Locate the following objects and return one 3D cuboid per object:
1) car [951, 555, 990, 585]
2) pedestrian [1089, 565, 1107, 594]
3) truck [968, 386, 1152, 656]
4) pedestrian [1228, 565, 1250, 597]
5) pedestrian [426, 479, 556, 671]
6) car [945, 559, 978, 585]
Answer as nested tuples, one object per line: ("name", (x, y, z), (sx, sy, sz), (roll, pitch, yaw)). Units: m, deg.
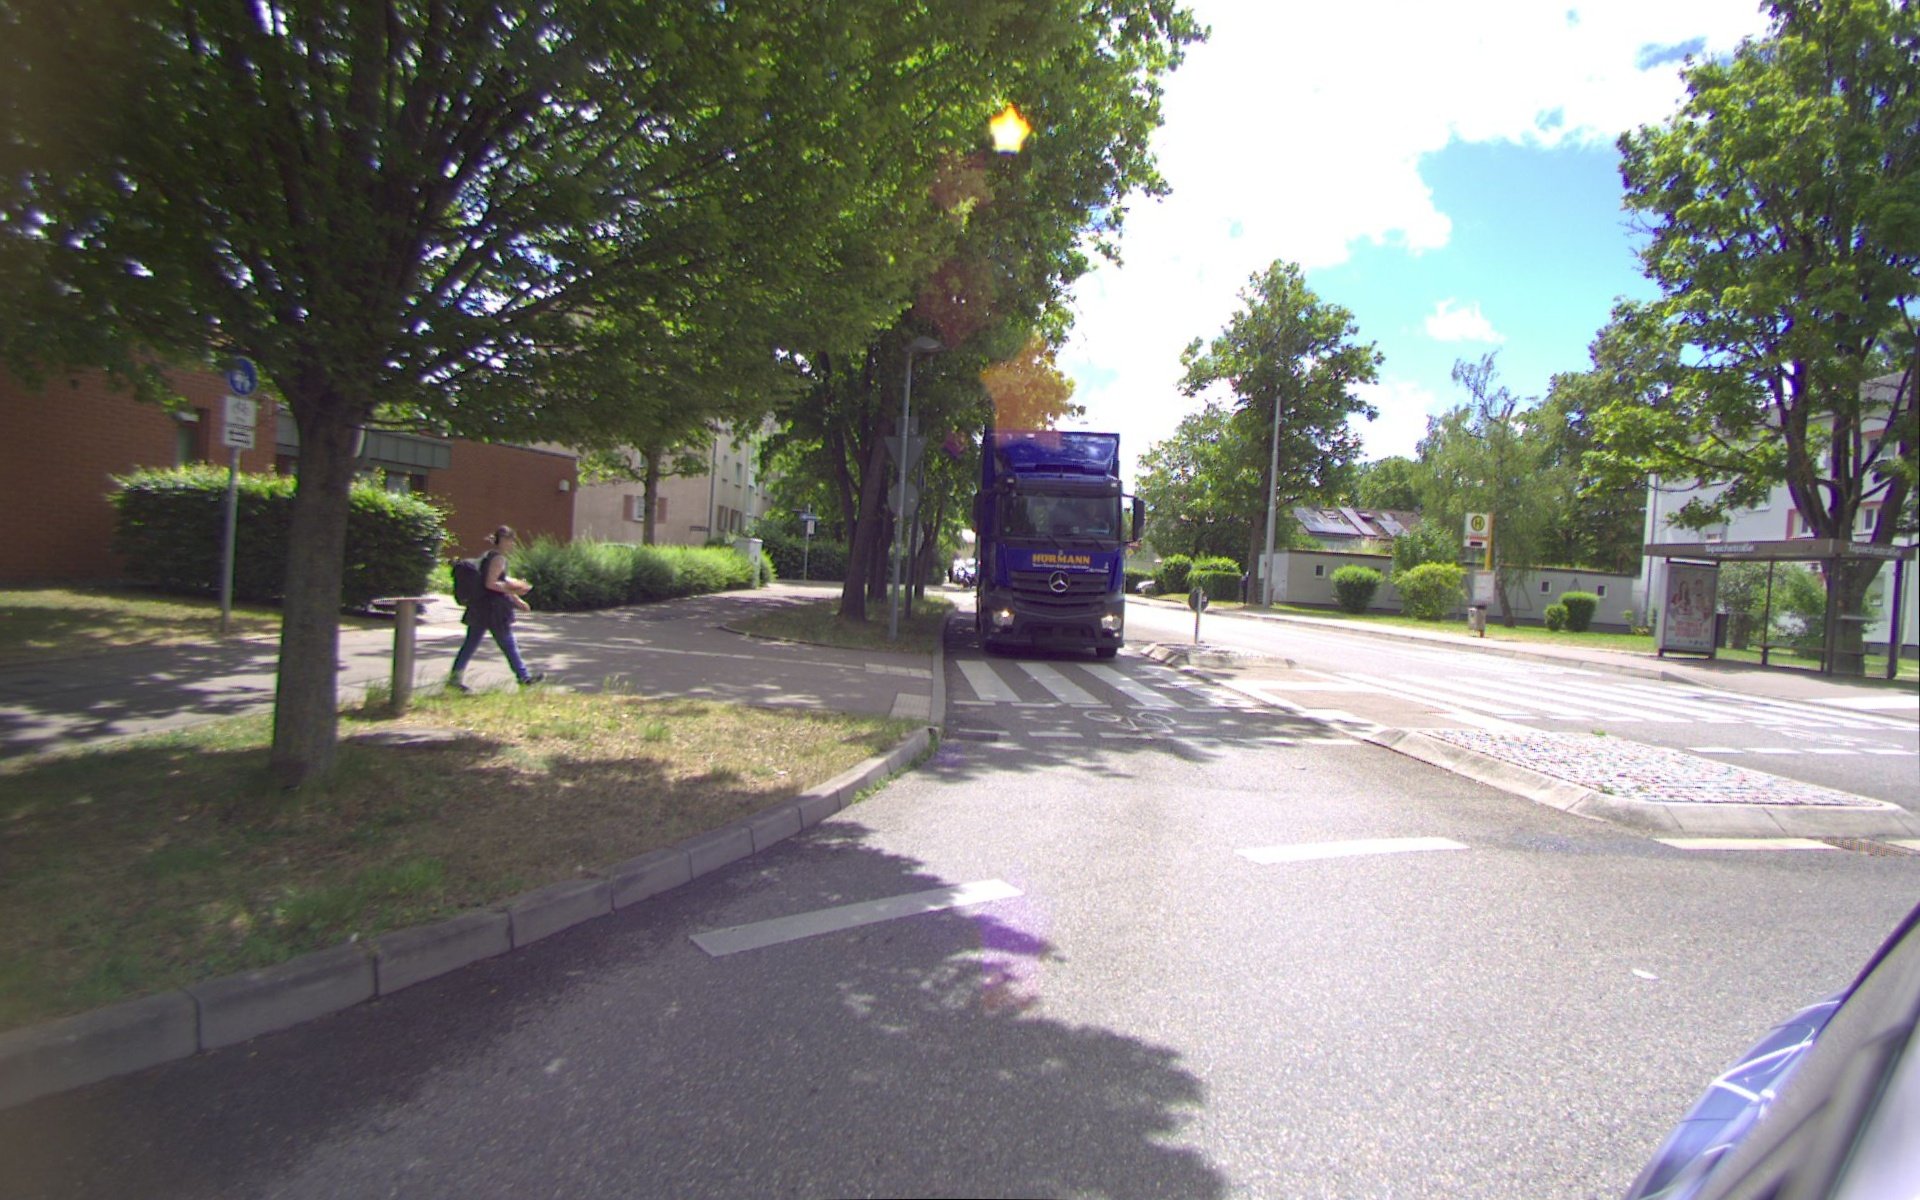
("car", (0.609, -1.777, 60.765), (1.961, 1.572, 4.003), (4, 0, -3))
("pedestrian", (10.192, -1.524, 74.852), (1.004, 2.038, 1.043), (3, 2, -5))
("truck", (1.812, -1.393, 21.222), (2.739, 4.204, 9.793), (3, 1, 2))
("pedestrian", (14.559, -0.998, 52.811), (0.888, 1.601, 0.660), (4, 2, 6))
("pedestrian", (-4.171, -0.243, 9.054), (0.709, 1.597, 0.840), (3, 4, 7))
("car", (0.061, -1.903, 70.096), (1.961, 1.572, 4.003), (4, 0, -3))
